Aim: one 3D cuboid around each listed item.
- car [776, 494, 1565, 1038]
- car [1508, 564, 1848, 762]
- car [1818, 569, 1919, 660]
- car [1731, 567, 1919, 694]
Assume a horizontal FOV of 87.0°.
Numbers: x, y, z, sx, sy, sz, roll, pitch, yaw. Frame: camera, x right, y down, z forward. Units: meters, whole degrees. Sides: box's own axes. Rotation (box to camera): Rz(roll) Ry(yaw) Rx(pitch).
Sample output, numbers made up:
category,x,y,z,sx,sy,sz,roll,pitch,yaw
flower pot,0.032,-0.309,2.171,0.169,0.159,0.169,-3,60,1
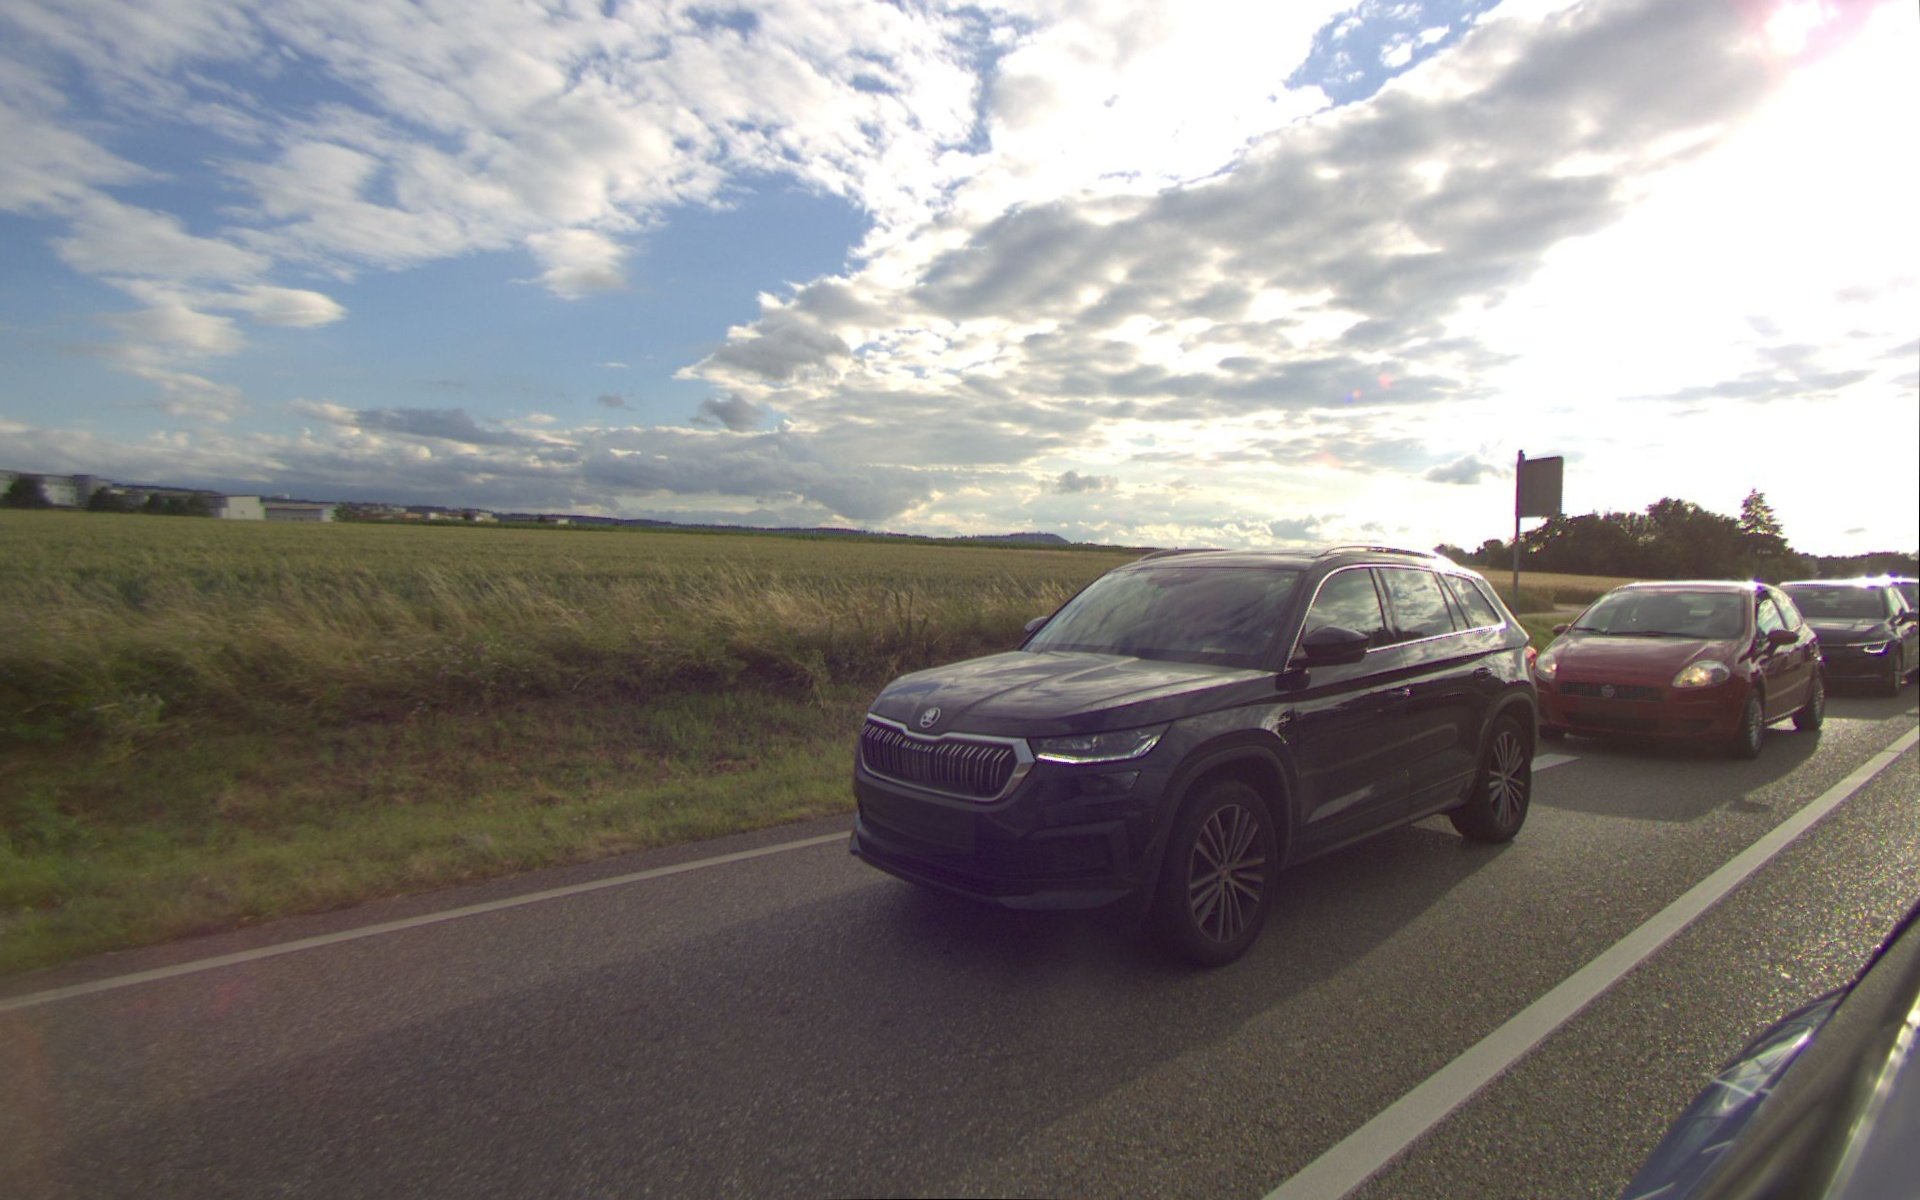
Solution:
category,x,y,z,sx,sy,sz,roll,pitch,yaw
car,1.387,0.481,5.229,4.342,1.688,1.722,-1,1,-41
car,6.829,0.445,9.490,3.796,1.494,1.668,-1,1,-39
car,16.663,0.214,17.990,3.414,1.494,1.629,-1,1,-41
car,12.080,0.326,13.831,3.798,1.494,1.722,-1,1,-41
